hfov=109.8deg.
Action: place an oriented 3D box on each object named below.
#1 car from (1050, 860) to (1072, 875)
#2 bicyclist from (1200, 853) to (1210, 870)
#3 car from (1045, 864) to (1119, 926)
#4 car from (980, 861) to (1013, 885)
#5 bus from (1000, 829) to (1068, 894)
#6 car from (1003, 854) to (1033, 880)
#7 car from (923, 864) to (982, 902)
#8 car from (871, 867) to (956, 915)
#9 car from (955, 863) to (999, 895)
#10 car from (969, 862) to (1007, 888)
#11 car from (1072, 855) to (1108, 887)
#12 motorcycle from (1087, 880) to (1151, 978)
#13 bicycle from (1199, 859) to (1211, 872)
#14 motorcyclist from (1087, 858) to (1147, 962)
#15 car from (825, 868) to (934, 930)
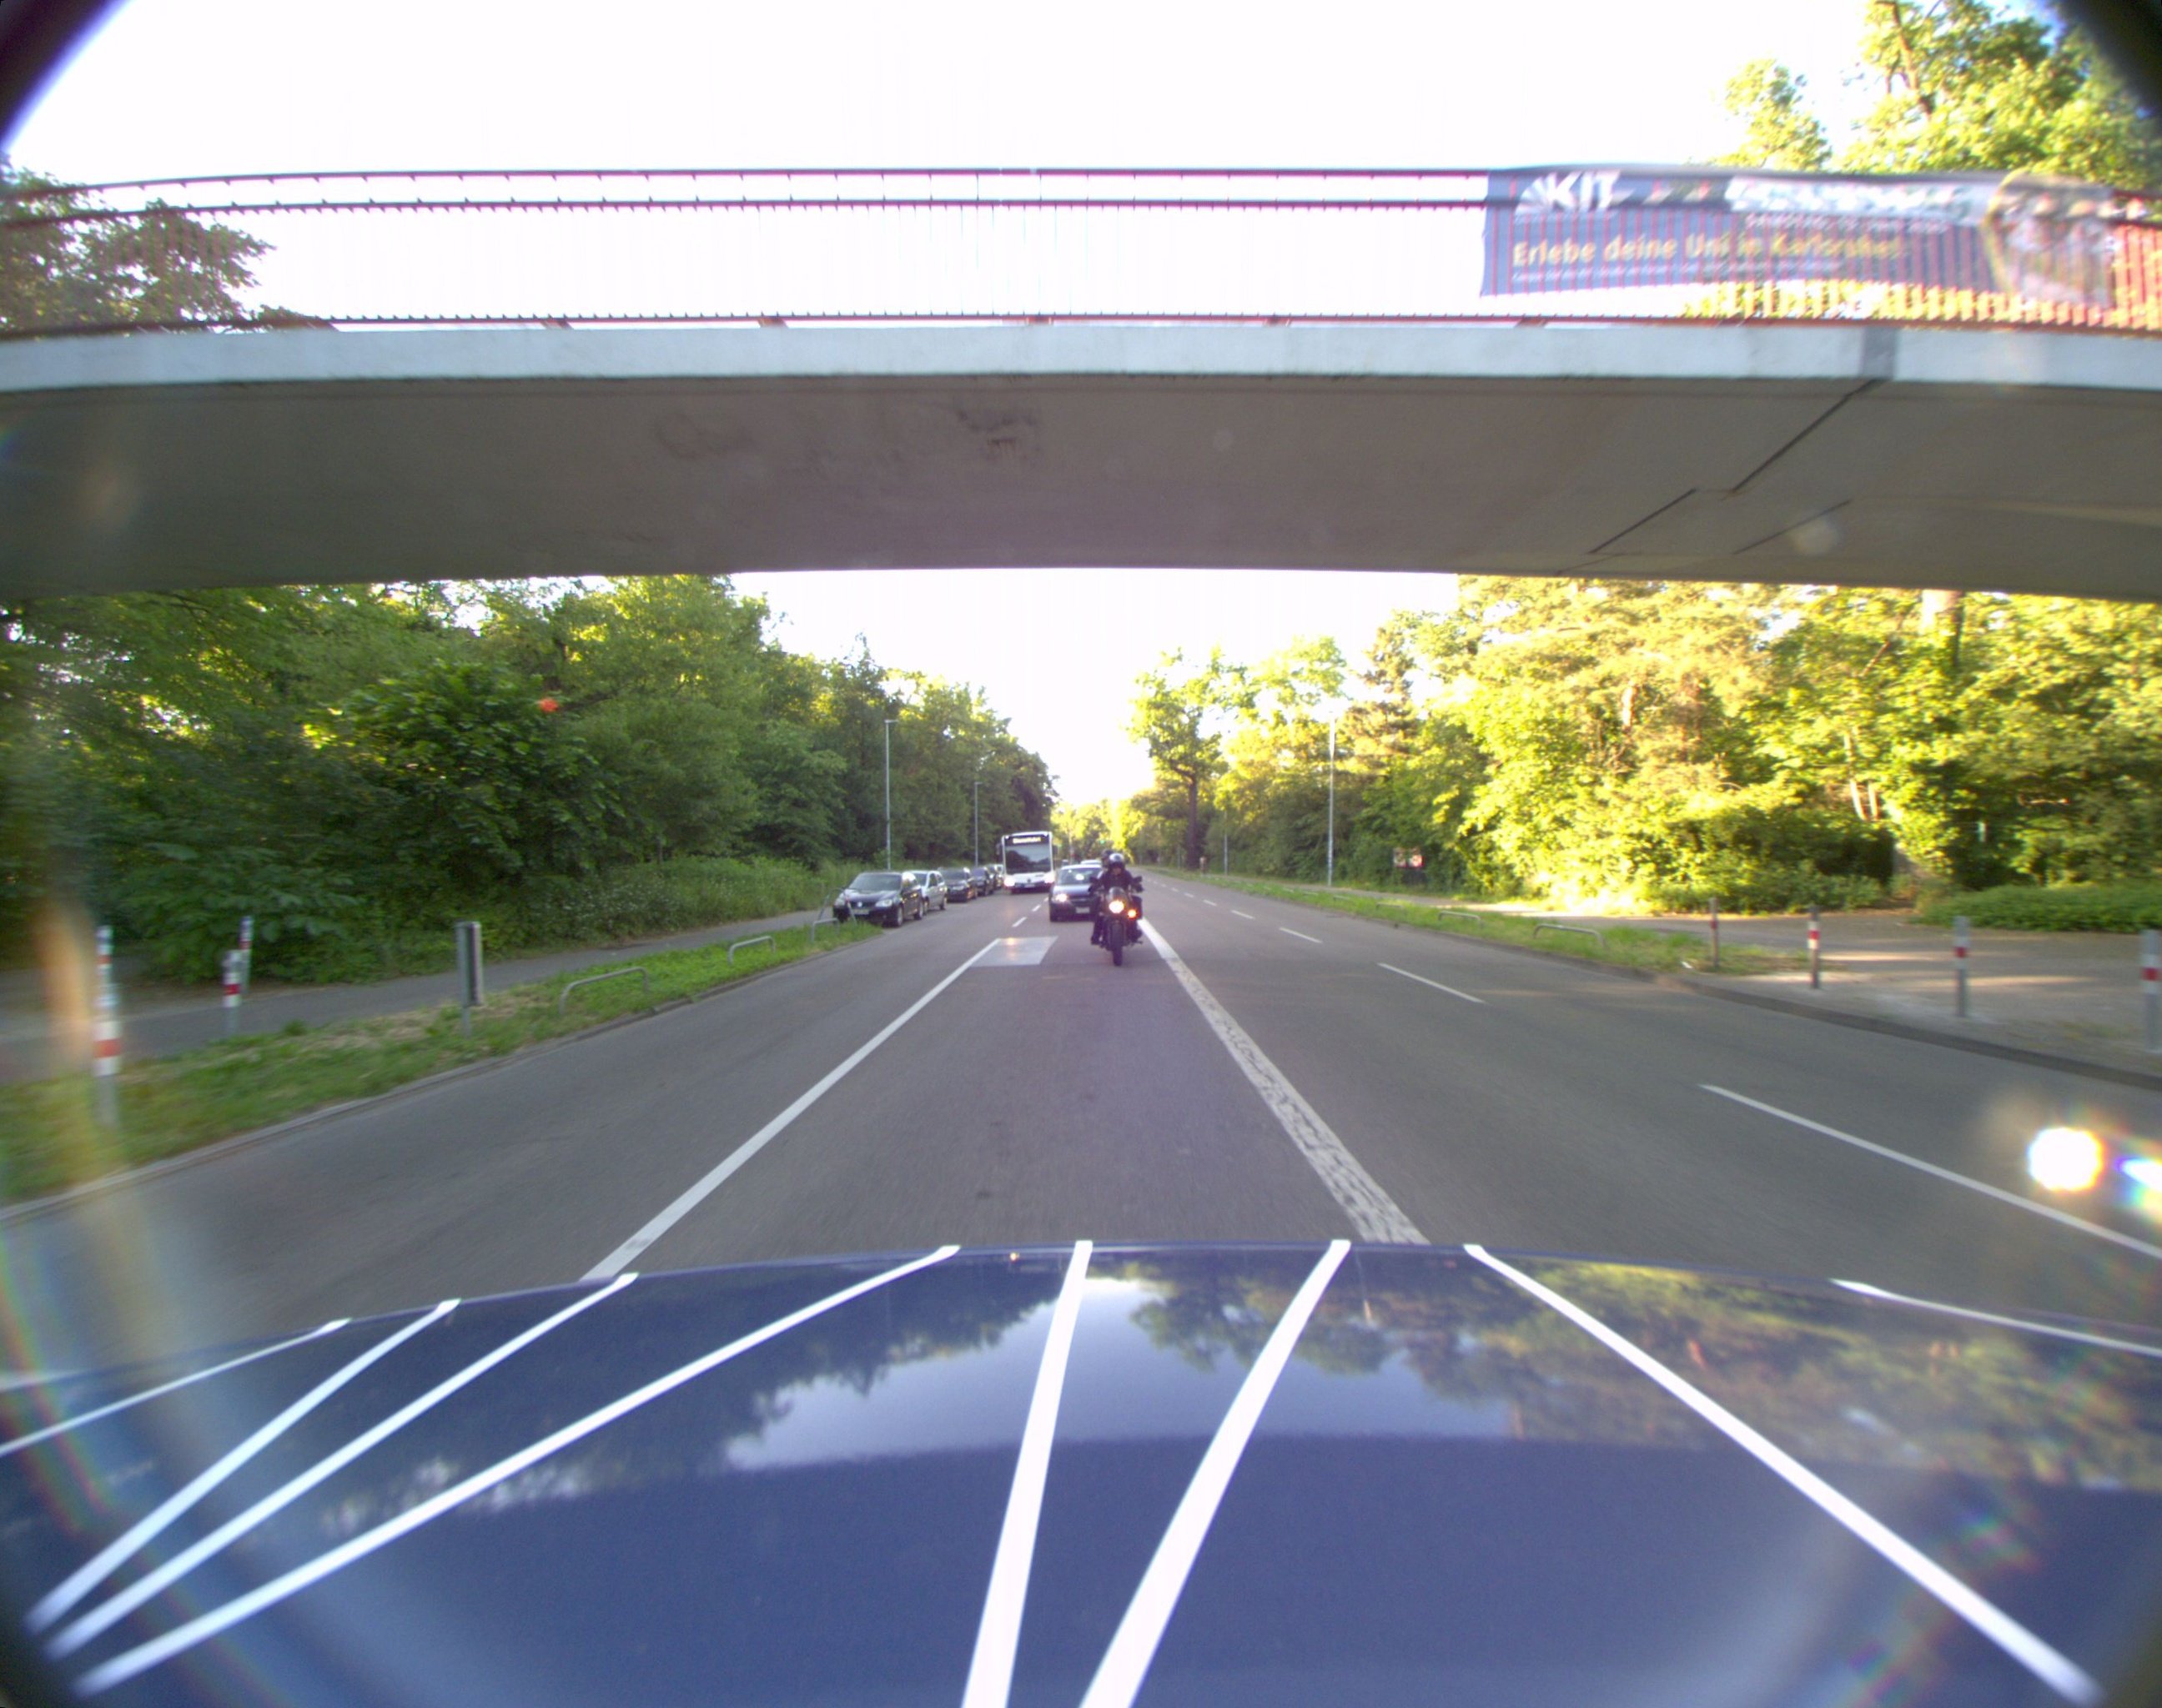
[{"bbox_3d":[-1.845,1.270,72.320,1.873,1.398,4.369,0,0,1],"label":"car"},{"bbox_3d":[11.698,0.681,71.807,0.714,1.550,1.142,-2,1,1],"label":"bicyclist"},{"bbox_3d":[0.111,1.023,20.268,1.678,1.351,3.995,-2,0,3],"label":"car"},{"bbox_3d":[-5.505,1.208,49.918,1.589,1.445,3.798,0,0,2],"label":"car"},{"bbox_3d":[-2.387,0.353,43.385,2.812,3.030,12.886,-2,0,1],"label":"bus"},{"bbox_3d":[-5.053,0.969,61.464,1.873,1.969,5.475,0,0,1],"label":"car"},{"bbox_3d":[-5.528,1.220,33.363,1.779,1.445,5.037,0,0,-1],"label":"car"},{"bbox_3d":[-5.673,1.228,26.249,1.778,1.445,4.015,0,0,4],"label":"car"},{"bbox_3d":[-5.222,1.241,38.703,1.641,1.445,4.897,0,0,-1],"label":"car"},{"bbox_3d":[-5.456,1.213,44.961,1.589,1.445,3.943,0,0,2],"label":"car"},{"bbox_3d":[0.527,0.864,41.265,1.678,1.552,3.995,-2,0,3],"label":"car"},{"bbox_3d":[0.532,1.057,11.589,0.830,1.211,2.604,-2,0,1],"label":"motorcycle"},{"bbox_3d":[11.718,1.054,71.814,0.714,1.141,1.993,-2,1,1],"label":"bicycle"},{"bbox_3d":[0.529,0.823,11.586,0.830,1.484,1.024,-2,1,1],"label":"motorcyclist"},{"bbox_3d":[-5.531,1.181,21.461,1.778,1.445,4.388,0,0,2],"label":"car"}]
